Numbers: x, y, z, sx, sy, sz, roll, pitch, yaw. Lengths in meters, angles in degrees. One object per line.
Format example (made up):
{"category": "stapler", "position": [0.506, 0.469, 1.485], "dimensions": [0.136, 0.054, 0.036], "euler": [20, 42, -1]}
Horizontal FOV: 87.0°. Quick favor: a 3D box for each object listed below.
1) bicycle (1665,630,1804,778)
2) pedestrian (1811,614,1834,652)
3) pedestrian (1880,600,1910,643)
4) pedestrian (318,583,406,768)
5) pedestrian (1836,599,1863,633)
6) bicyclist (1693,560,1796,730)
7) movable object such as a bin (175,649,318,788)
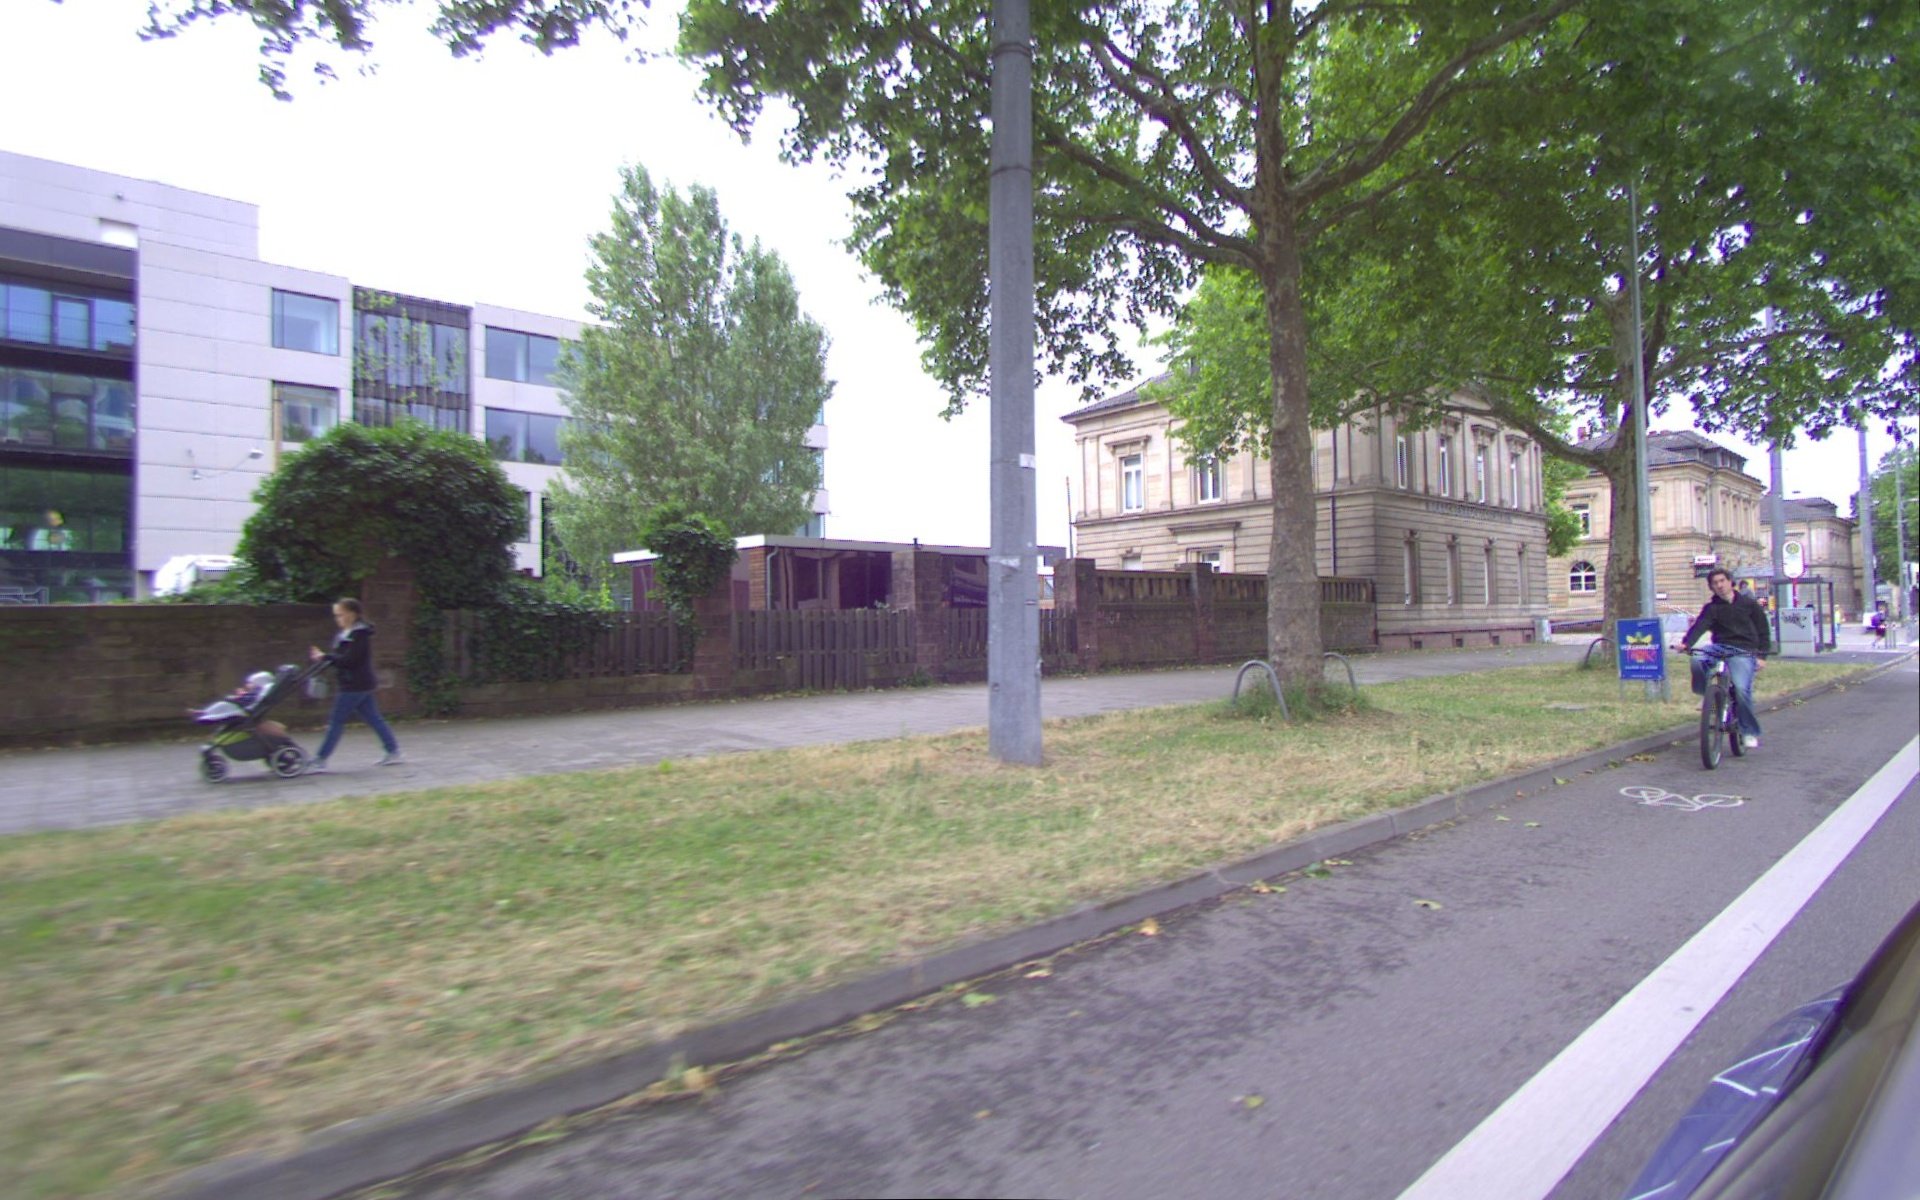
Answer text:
{"category": "bicycle", "position": [7.262, 0.898, 9.445], "dimensions": [2.245, 1.164, 0.653], "euler": [-1, -1, -44]}
{"category": "pedestrian", "position": [29.048, 1.113, 34.086], "dimensions": [0.690, 1.250, 0.477], "euler": [0, -2, -42]}
{"category": "pedestrian", "position": [33.775, 0.776, 36.545], "dimensions": [0.625, 1.548, 0.554], "euler": [-1, -1, -24]}
{"category": "pedestrian", "position": [-5.622, 0.681, 9.504], "dimensions": [0.657, 1.653, 0.560], "euler": [0, -2, -35]}
{"category": "pedestrian", "position": [44.972, 0.805, 51.142], "dimensions": [0.980, 1.700, 0.721], "euler": [-1, -1, -32]}
{"category": "bicyclist", "position": [7.535, 0.415, 9.718], "dimensions": [0.653, 1.550, 0.641], "euler": [0, -2, -43]}
{"category": "movable object such as a bin", "position": [-6.307, 1.012, 8.978], "dimensions": [0.995, 1.126, 0.613], "euler": [1, -2, -36]}
